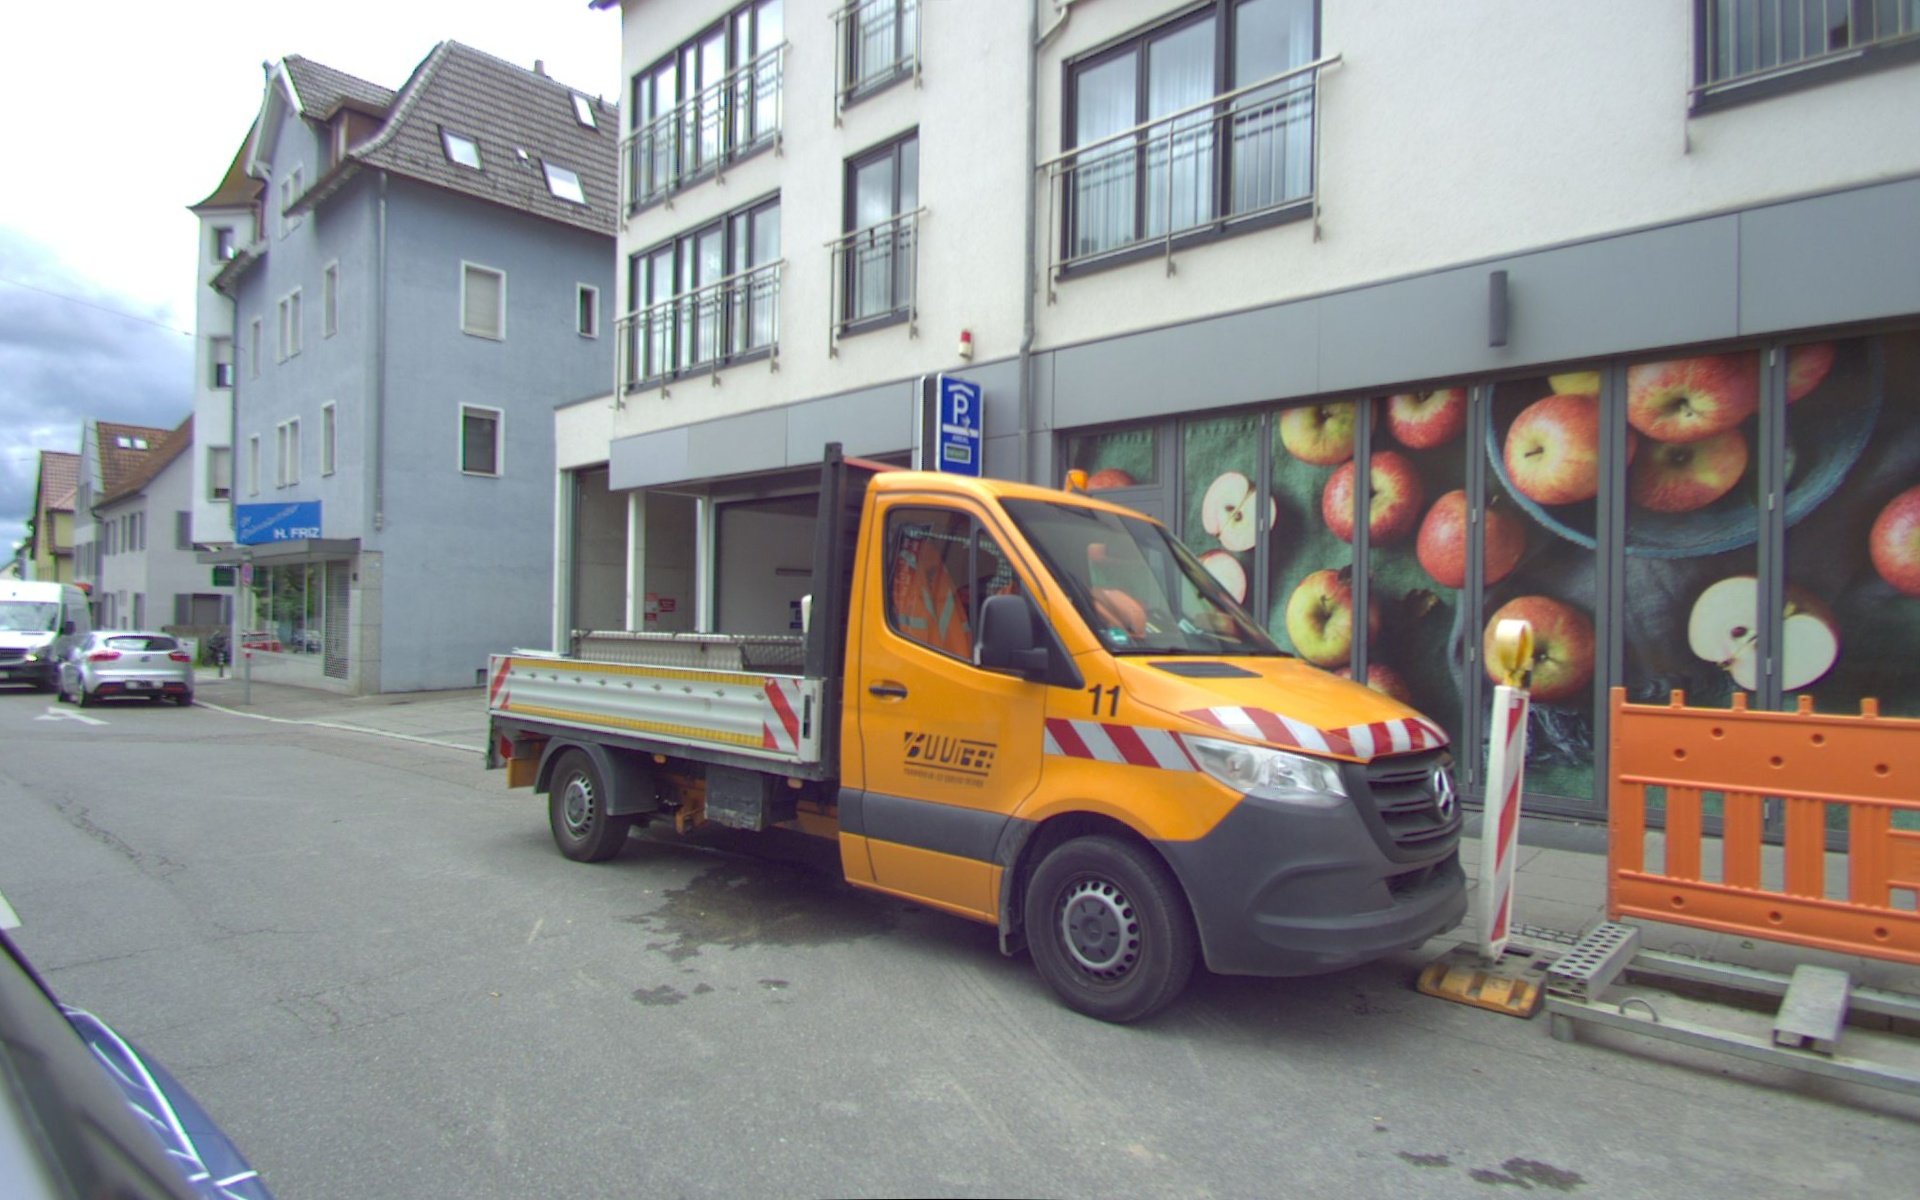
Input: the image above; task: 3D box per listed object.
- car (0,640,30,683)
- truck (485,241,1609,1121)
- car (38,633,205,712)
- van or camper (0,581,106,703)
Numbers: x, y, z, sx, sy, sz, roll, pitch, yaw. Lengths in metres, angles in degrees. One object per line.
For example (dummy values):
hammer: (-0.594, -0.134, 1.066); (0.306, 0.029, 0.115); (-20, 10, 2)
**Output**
car: (-35.245, 2.213, 36.760); (4.354, 1.485, 1.838); (-3, -6, 44)
truck: (-0.174, 0.331, 5.872); (6.305, 2.485, 2.388); (-2, -3, 42)
car: (-16.762, 1.392, 20.182); (3.995, 1.422, 1.780); (-2, -3, 39)
van or camper: (-22.527, 1.004, 24.329); (2.287, 2.627, 6.224); (1, -3, -33)
